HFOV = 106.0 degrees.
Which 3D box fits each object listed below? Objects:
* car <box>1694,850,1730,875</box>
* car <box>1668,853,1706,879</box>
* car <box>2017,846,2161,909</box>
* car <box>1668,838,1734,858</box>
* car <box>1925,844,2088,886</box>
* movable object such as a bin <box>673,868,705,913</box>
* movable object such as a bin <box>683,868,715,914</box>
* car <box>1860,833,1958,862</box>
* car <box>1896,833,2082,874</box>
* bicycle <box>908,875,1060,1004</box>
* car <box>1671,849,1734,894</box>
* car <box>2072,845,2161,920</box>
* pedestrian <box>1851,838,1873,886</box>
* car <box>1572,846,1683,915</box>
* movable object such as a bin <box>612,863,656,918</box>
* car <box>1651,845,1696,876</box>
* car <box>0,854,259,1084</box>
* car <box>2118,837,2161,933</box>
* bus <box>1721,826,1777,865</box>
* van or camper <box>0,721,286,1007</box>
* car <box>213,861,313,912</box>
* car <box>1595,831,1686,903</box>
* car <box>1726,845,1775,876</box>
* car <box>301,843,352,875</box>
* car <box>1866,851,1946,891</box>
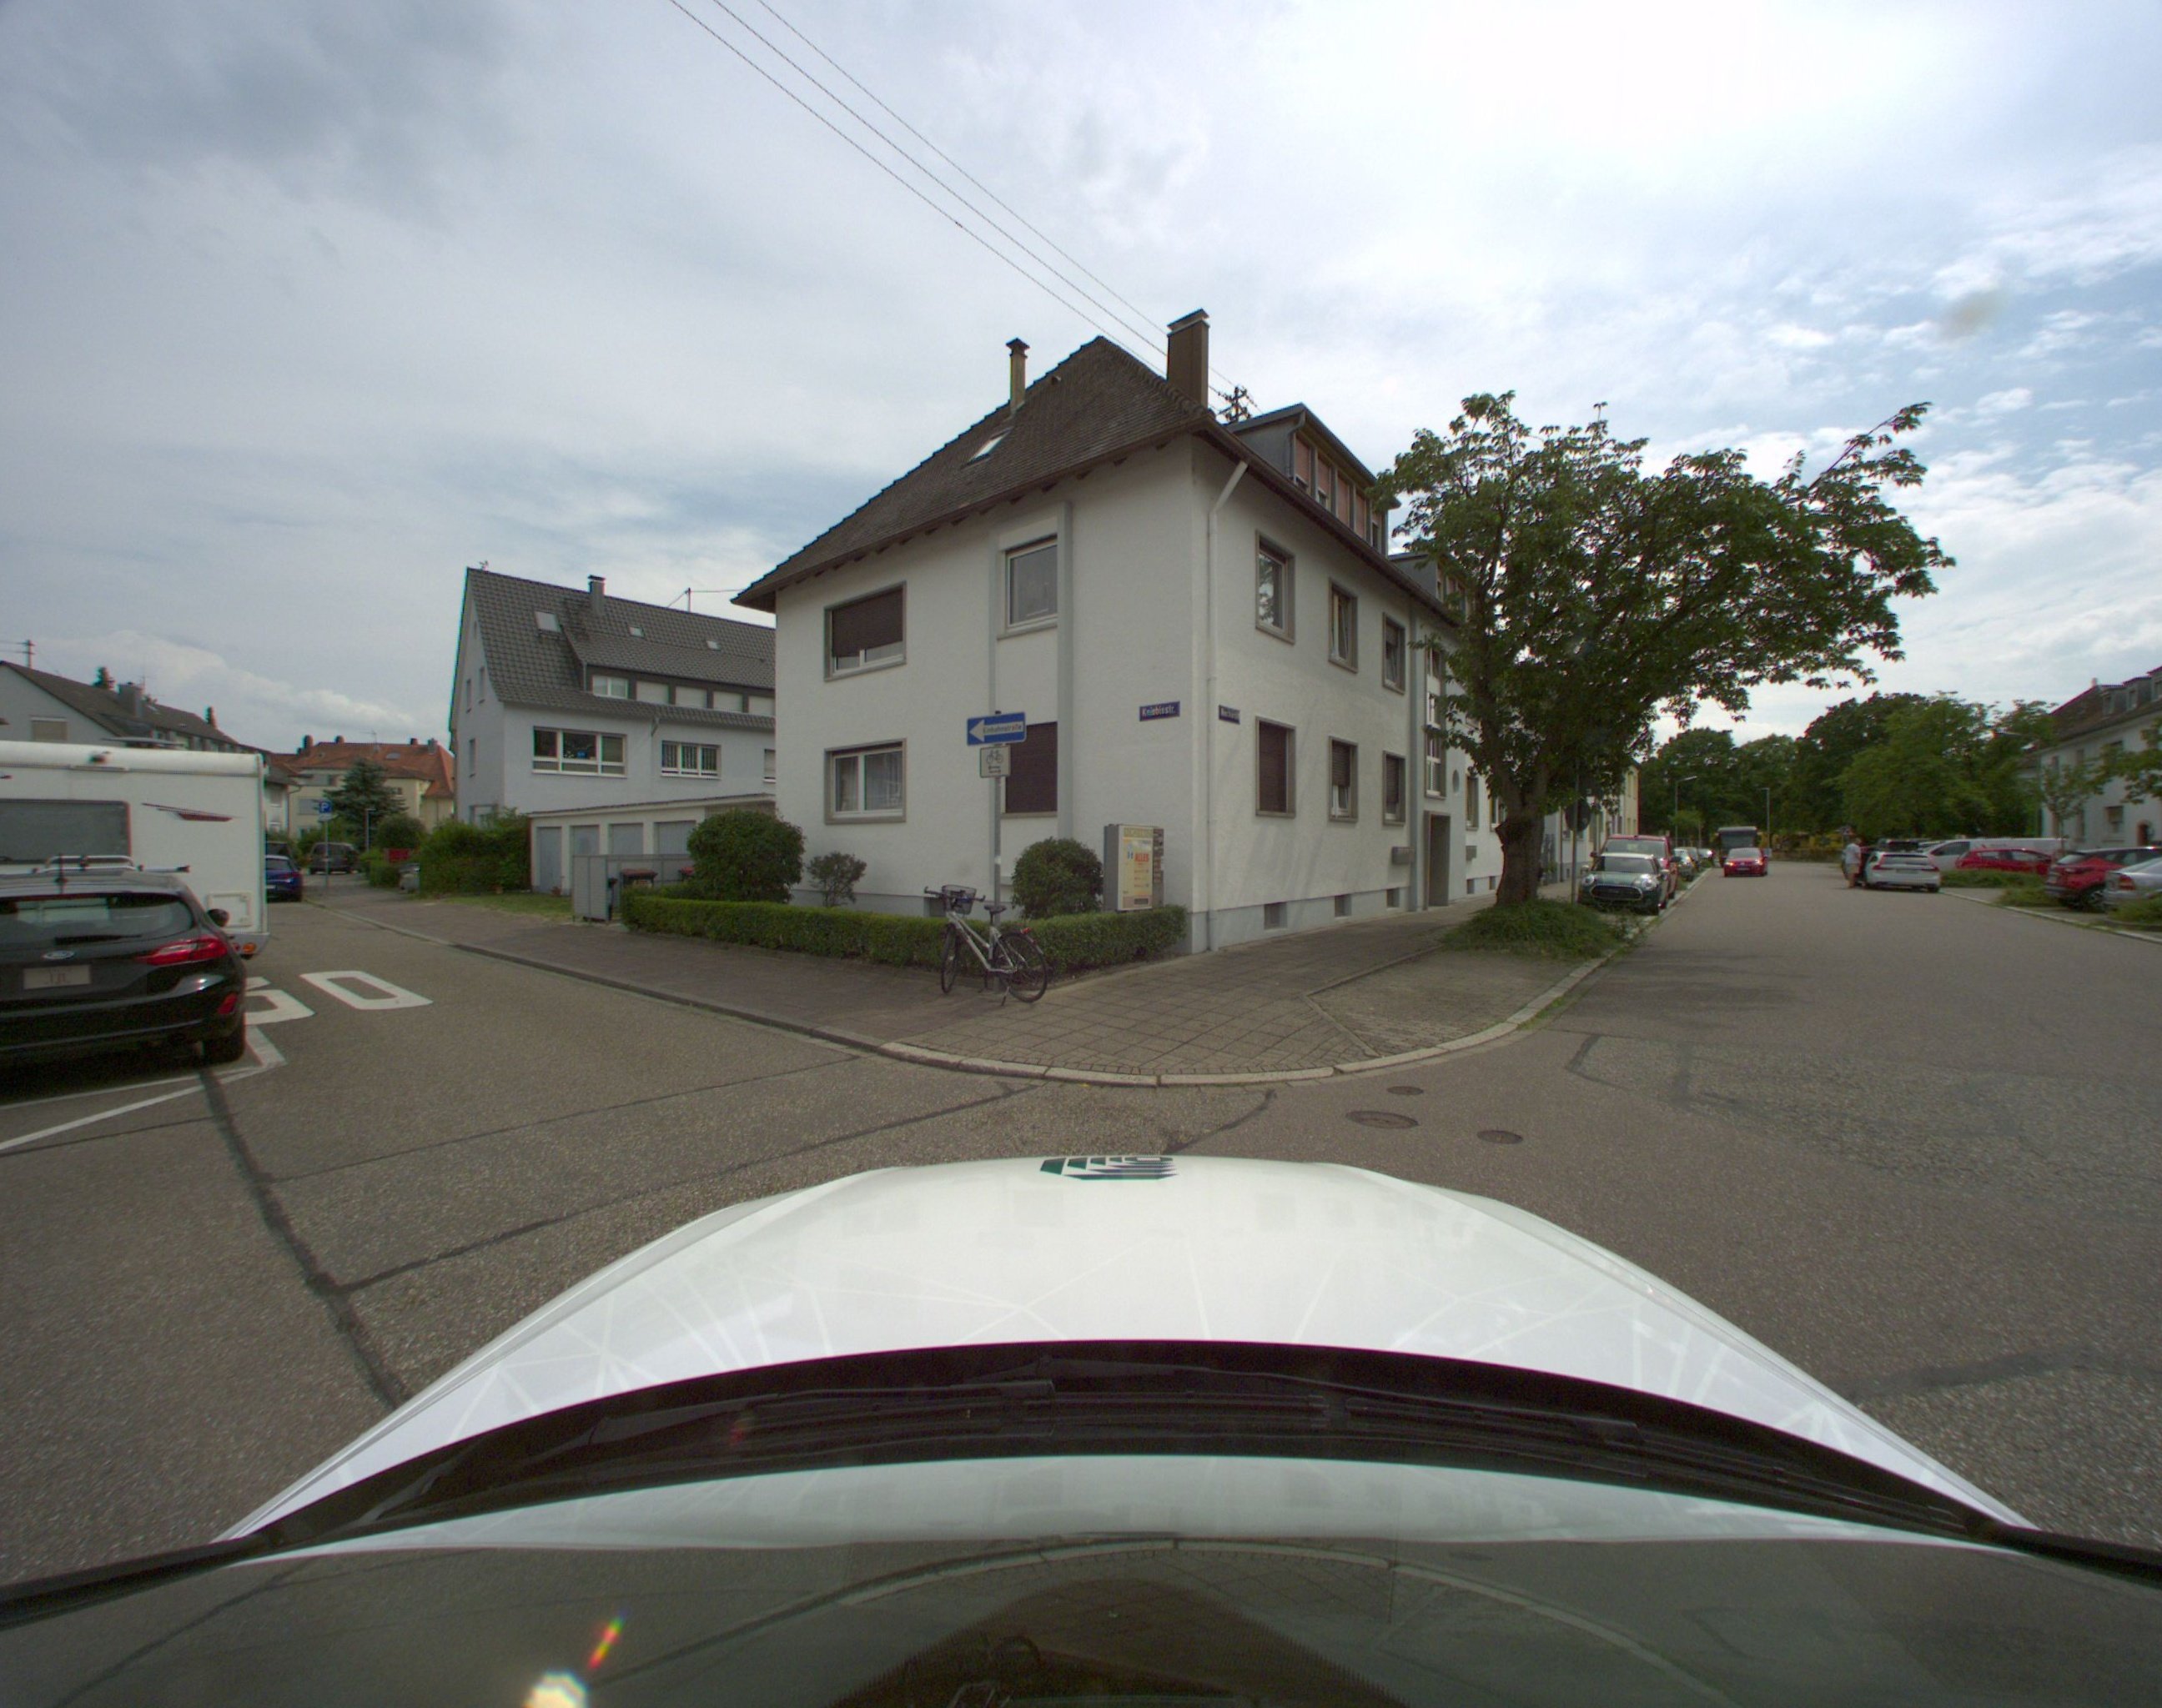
[{"bbox_3d":[37.818,0.484,48.794,1.635,1.377,3.745,-2,-1,39],"label":"car"},{"bbox_3d":[31.677,0.605,42.580,1.523,1.301,3.745,-2,-1,37],"label":"car"},{"bbox_3d":[25.508,0.534,19.381,3.948,1.439,1.733,-2,-1,39],"label":"car"},{"bbox_3d":[52.367,-0.532,68.862,1.875,1.542,3.961,-1,-1,-30],"label":"car"},{"bbox_3d":[36.293,0.445,32.107,3.948,1.518,1.733,-2,-1,39],"label":"car"},{"bbox_3d":[-8.769,0.819,18.219,0.500,0.973,0.458,-2,-1,40],"label":"movable object such as a bin"},{"bbox_3d":[-8.388,0.800,17.874,0.500,0.973,0.458,-2,-1,40],"label":"movable object such as a bin"},{"bbox_3d":[44.245,-0.346,43.637,3.496,1.425,1.608,-2,-1,40],"label":"car"},{"bbox_3d":[37.770,0.013,34.109,4.926,1.518,1.780,-2,-1,38],"label":"car"},{"bbox_3d":[-1.004,0.821,8.177,1.617,1.179,0.438,-2,-1,35],"label":"bicycle"},{"bbox_3d":[22.080,0.594,28.886,1.635,1.461,3.575,-2,-1,39],"label":"car"},{"bbox_3d":[23.529,0.540,16.584,3.948,1.518,1.733,-2,-1,39],"label":"car"},{"bbox_3d":[28.170,0.301,29.389,0.517,1.704,0.447,-2,-1,43],"label":"pedestrian"},{"bbox_3d":[13.838,0.616,20.529,1.746,1.554,3.753,-2,-1,42],"label":"car"},{"bbox_3d":[-9.512,0.771,17.329,0.745,1.137,0.585,-2,-1,40],"label":"movable object such as a bin"},{"bbox_3d":[28.246,0.305,38.807,1.635,1.377,3.745,-2,-1,37],"label":"car"},{"bbox_3d":[-7.874,0.769,6.549,3.720,1.422,1.674,-2,-1,43],"label":"car"},{"bbox_3d":[20.378,0.458,13.268,3.948,1.618,1.879,-2,-1,40],"label":"car"},{"bbox_3d":[51.556,-0.612,62.721,2.975,2.761,8.979,-2,-1,41],"label":"bus"},{"bbox_3d":[-12.021,0.173,10.327,6.084,2.725,2.427,-2,-1,42],"label":"van or camper"},{"bbox_3d":[-25.506,0.995,25.517,1.737,1.452,3.954,-1,-1,-38],"label":"car"},{"bbox_3d":[17.191,0.340,24.923,1.974,2.013,4.549,0,0,39],"label":"car"},{"bbox_3d":[34.764,0.318,42.323,1.846,1.486,4.025,-2,-1,39],"label":"car"},{"bbox_3d":[-43.870,0.339,47.425,1.869,1.742,4.296,-1,-1,-39],"label":"car"},{"bbox_3d":[29.979,0.587,29.680,1.671,1.354,3.850,-2,-1,40],"label":"car"}]
